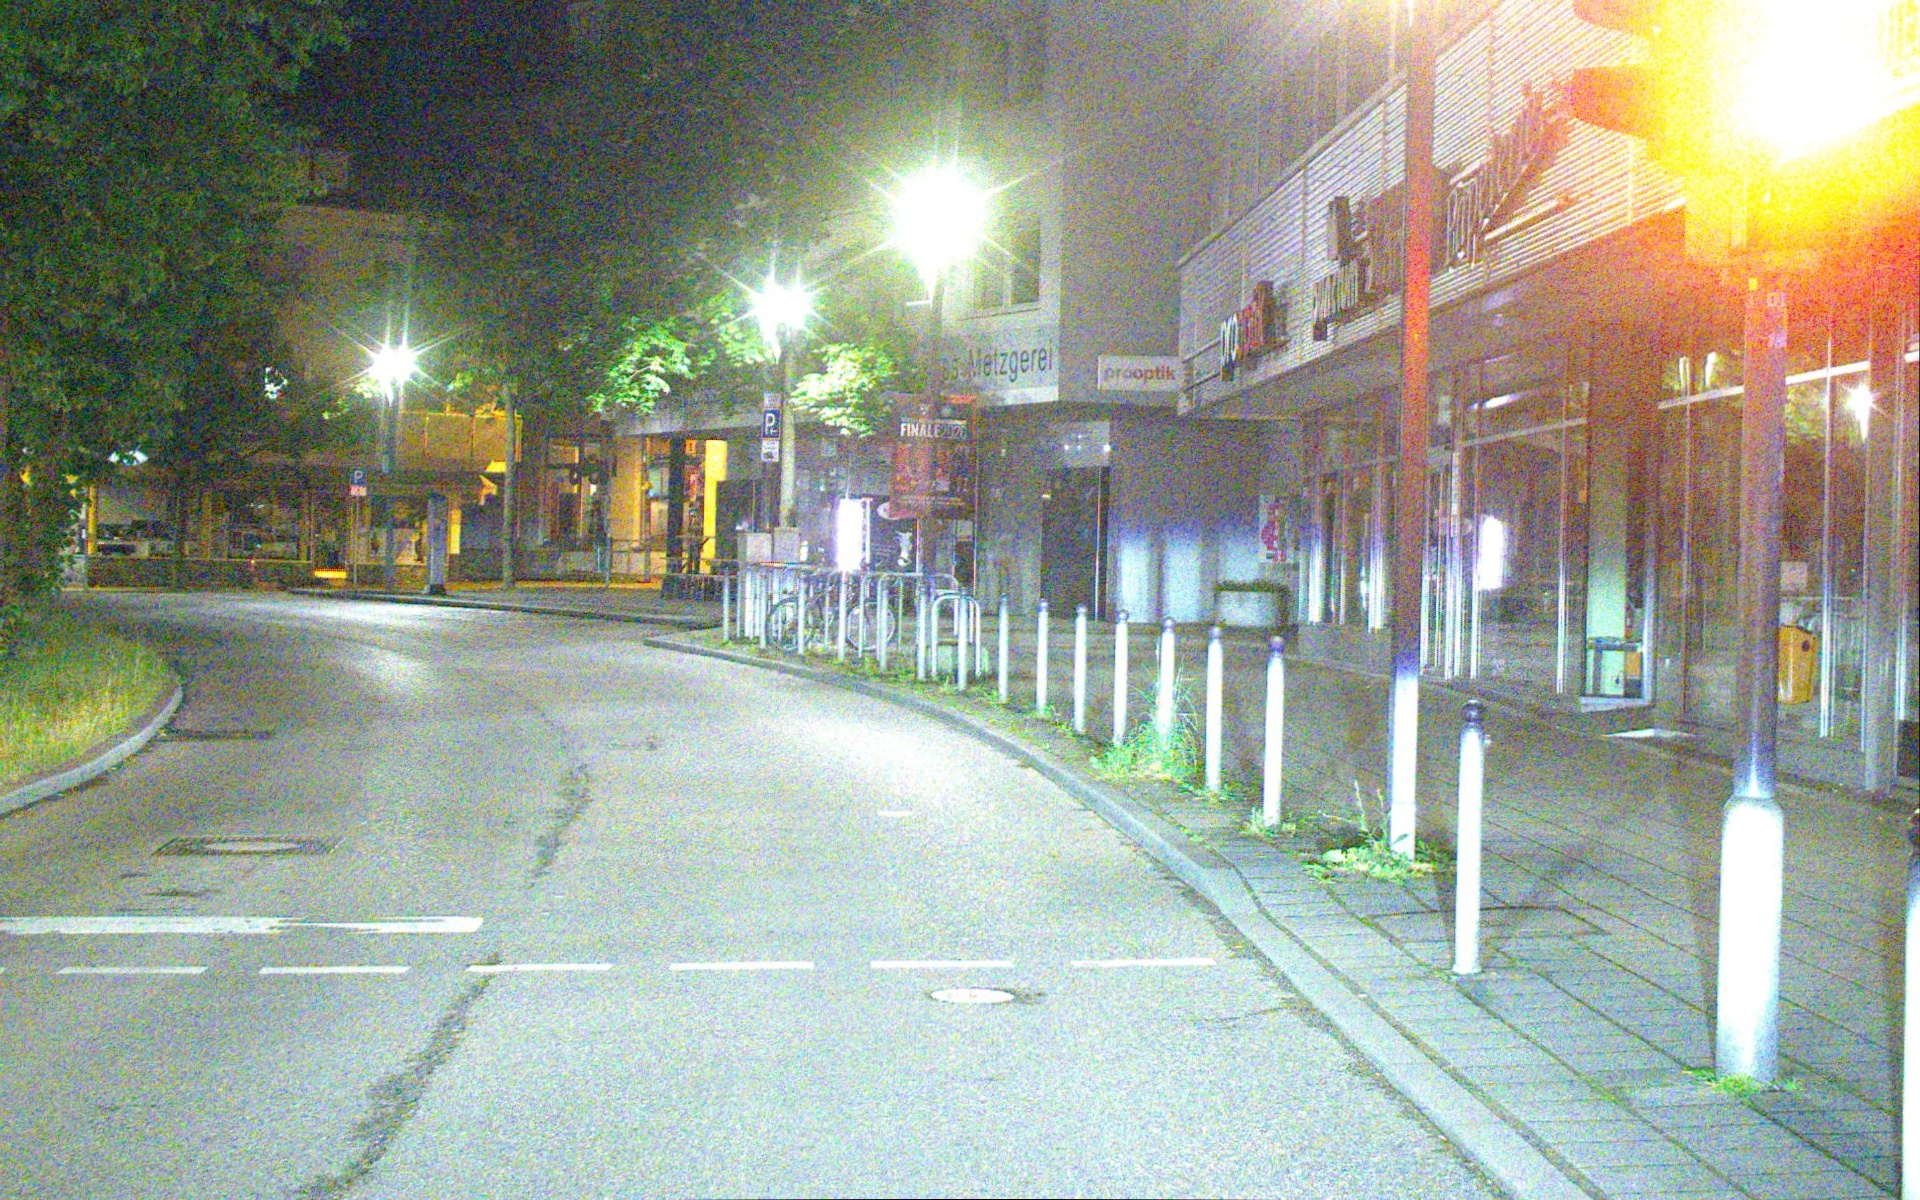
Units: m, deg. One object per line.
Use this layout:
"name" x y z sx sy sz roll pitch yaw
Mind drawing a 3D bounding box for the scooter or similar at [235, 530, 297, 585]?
"scooter or similar" -16.375 -0.997 81.106 1.246 1.223 0.598 2 1 -29

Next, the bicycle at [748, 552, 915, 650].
"bicycle" -1.448 0.014 38.868 1.749 1.059 0.656 1 2 -26
